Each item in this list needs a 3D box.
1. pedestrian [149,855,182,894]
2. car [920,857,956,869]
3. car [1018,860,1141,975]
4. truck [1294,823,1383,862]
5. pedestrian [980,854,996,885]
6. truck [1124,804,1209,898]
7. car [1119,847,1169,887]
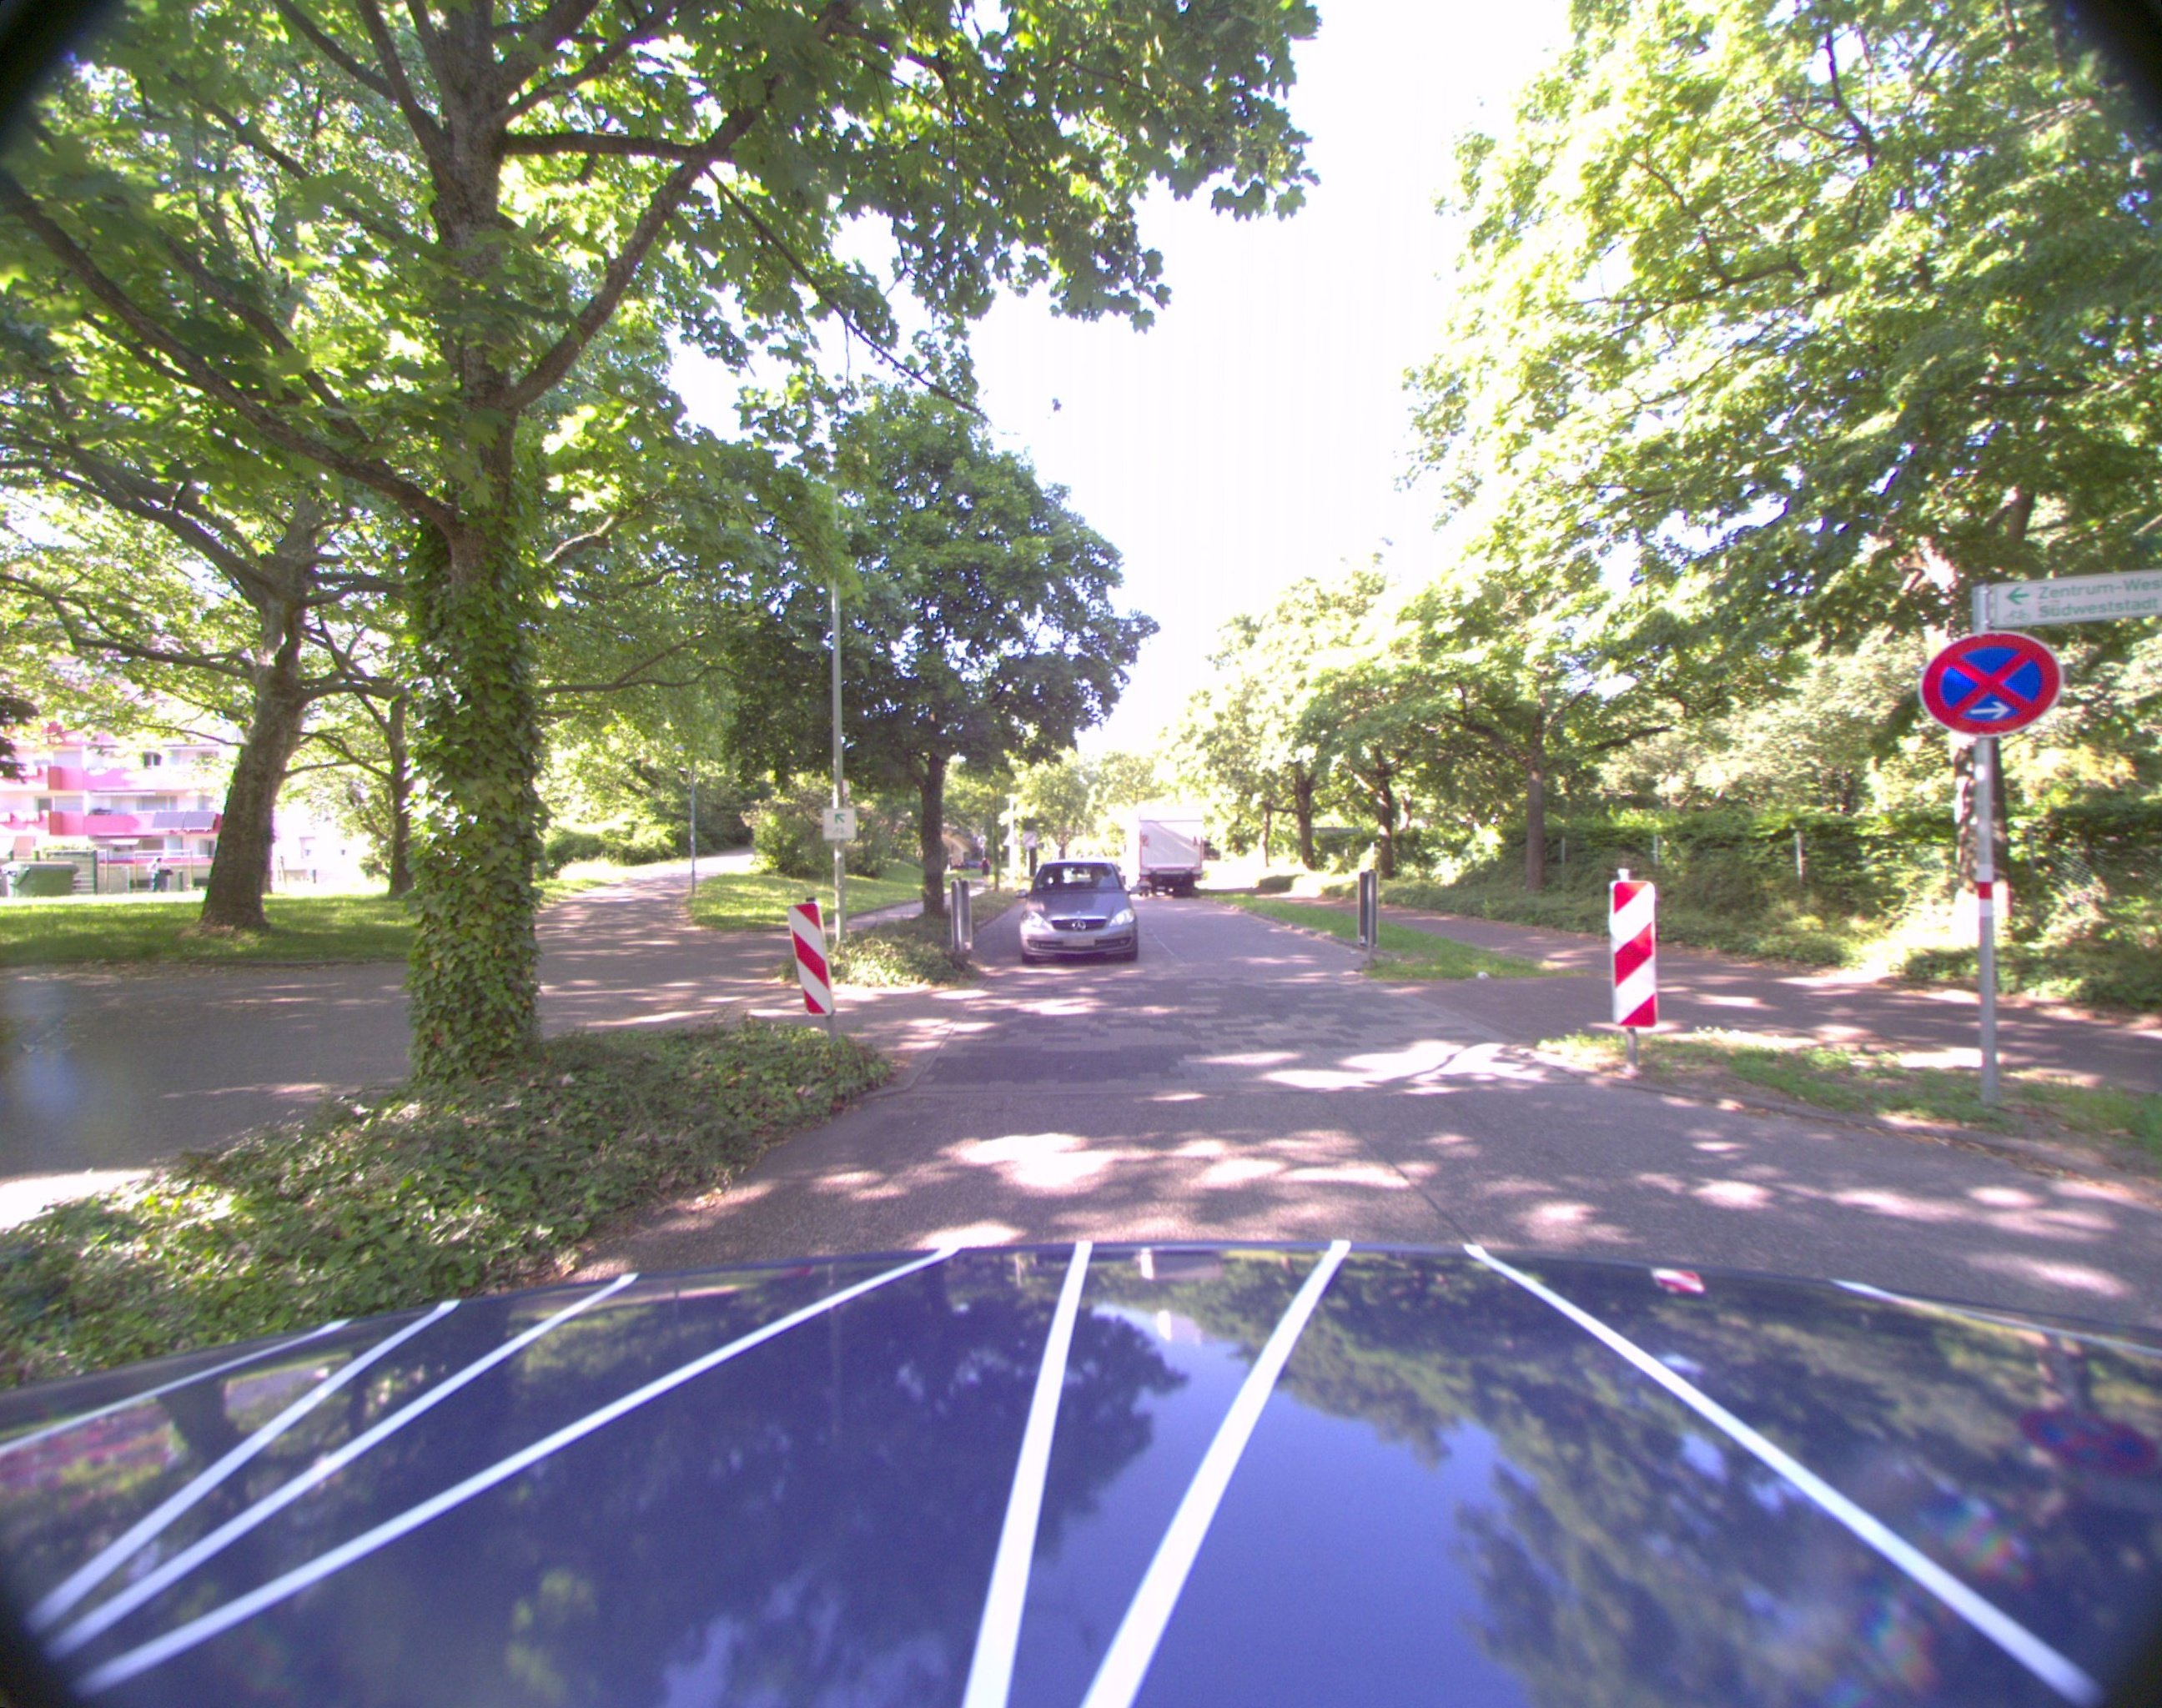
[{"bbox_3d":[-38.939,0.869,32.330,0.627,1.579,0.679,-3,1,-30],"label":"pedestrian"},{"bbox_3d":[-17.881,1.164,94.979,4.089,1.258,1.758,-3,1,1],"label":"car"},{"bbox_3d":[-0.087,0.917,12.871,1.734,1.578,3.999,-1,0,-2],"label":"car"},{"bbox_3d":[13.914,-0.604,41.224,3.998,2.002,2.203,0,0,-2],"label":"truck"},{"bbox_3d":[-5.543,0.897,45.302,0.793,1.821,0.671,-1,1,0],"label":"pedestrian"},{"bbox_3d":[3.578,-0.128,33.839,2.741,3.620,8.100,-1,0,0],"label":"truck"},{"bbox_3d":[3.512,0.710,43.677,2.125,2.083,6.583,-1,0,-1],"label":"car"}]
